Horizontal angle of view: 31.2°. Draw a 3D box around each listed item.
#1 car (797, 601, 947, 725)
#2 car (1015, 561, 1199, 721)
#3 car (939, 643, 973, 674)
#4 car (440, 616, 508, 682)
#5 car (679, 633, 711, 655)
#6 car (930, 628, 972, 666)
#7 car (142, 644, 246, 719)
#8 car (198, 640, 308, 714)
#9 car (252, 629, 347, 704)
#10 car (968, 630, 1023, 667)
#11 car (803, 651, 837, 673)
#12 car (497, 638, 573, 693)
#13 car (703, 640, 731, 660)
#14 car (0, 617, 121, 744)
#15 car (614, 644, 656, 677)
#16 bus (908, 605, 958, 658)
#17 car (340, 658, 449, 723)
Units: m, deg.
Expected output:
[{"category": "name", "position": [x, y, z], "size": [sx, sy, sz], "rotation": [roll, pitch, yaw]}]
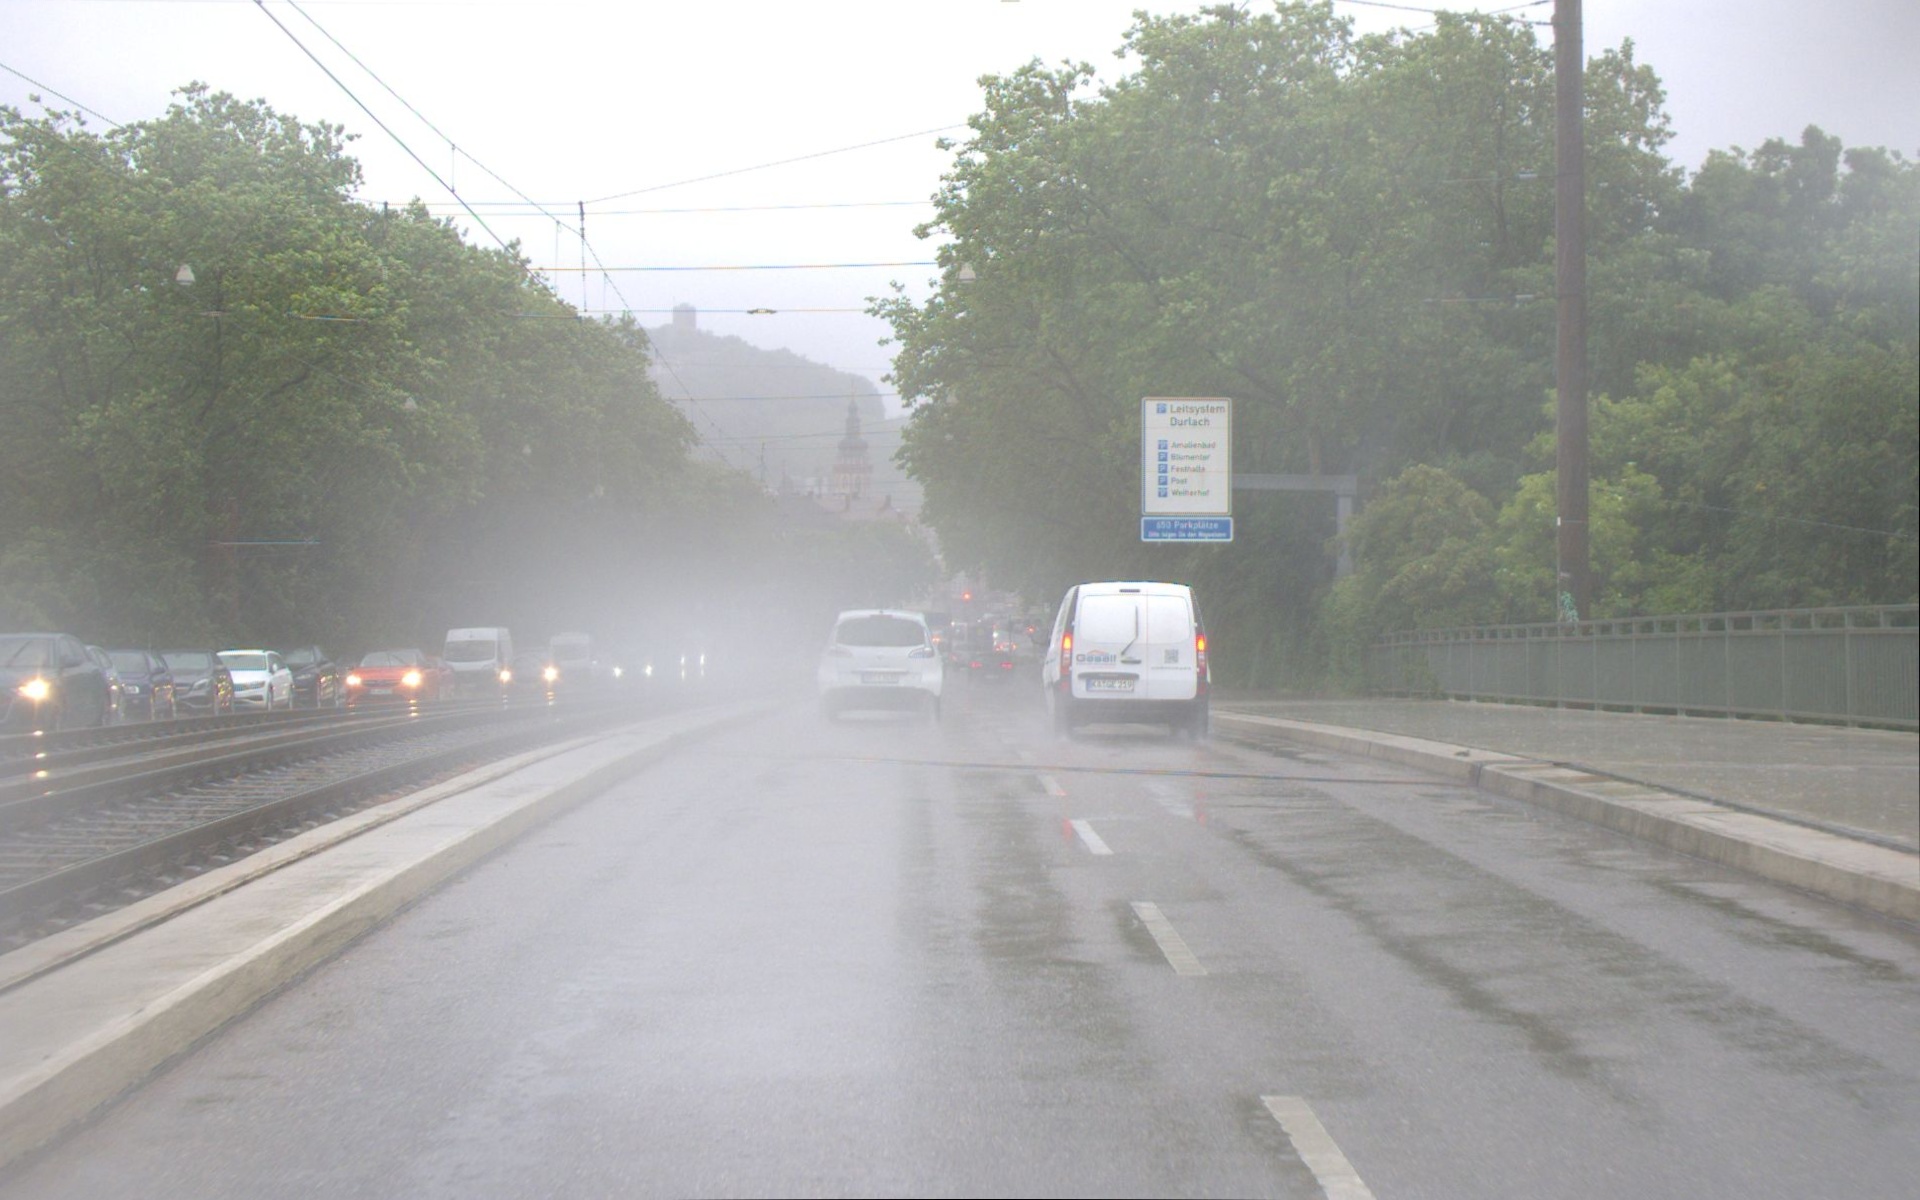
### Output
[{"category": "car", "position": [-1.263, 0.889, 50.797], "size": [1.993, 1.711, 4.000], "rotation": [1, 0, 1]}, {"category": "car", "position": [1.670, 0.450, 40.026], "size": [1.993, 1.720, 4.000], "rotation": [1, 0, 1]}, {"category": "car", "position": [-0.227, 3.653, 213.742], "size": [1.993, 1.820, 4.000], "rotation": [1, 0, 1]}, {"category": "car", "position": [-17.236, 1.711, 122.057], "size": [1.741, 2.162, 5.814], "rotation": [-2, 0, -2]}, {"category": "car", "position": [-17.999, 2.975, 233.536], "size": [1.805, 1.345, 4.264], "rotation": [-2, 0, -1]}, {"category": "car", "position": [-0.449, 2.351, 173.149], "size": [1.993, 1.820, 4.000], "rotation": [1, 0, 1]}, {"category": "car", "position": [-15.853, 1.668, 71.279], "size": [1.505, 1.396, 4.409], "rotation": [-2, 0, -5]}, {"category": "car", "position": [-15.954, 1.712, 77.780], "size": [1.506, 1.396, 4.894], "rotation": [-5, 0, -2]}, {"category": "car", "position": [-16.065, 1.584, 83.796], "size": [1.505, 1.666, 4.834], "rotation": [-2, 0, -2]}, {"category": "car", "position": [1.365, 1.817, 129.581], "size": [1.993, 1.316, 4.000], "rotation": [1, 0, 1]}, {"category": "car", "position": [-9.740, 4.291, 239.253], "size": [1.805, 1.345, 4.263], "rotation": [-2, 0, 4]}, {"category": "car", "position": [-13.182, 2.010, 106.857], "size": [1.816, 1.363, 4.265], "rotation": [1, 3, 0]}, {"category": "car", "position": [-18.261, 3.739, 258.222], "size": [1.805, 1.345, 4.264], "rotation": [-2, 0, -1]}, {"category": "car", "position": [-12.101, 0.990, 43.840], "size": [1.799, 1.477, 4.084], "rotation": [1, 0, 0]}, {"category": "car", "position": [-15.198, 2.842, 160.963], "size": [1.506, 1.396, 4.707], "rotation": [-2, 0, 0]}, {"category": "bus", "position": [-2.022, 2.305, 258.068], "size": [3.389, 3.824, 9.738], "rotation": [1, 0, 1]}, {"category": "car", "position": [-12.725, 2.020, 77.558], "size": [1.799, 1.311, 4.084], "rotation": [1, 0, 0]}]
